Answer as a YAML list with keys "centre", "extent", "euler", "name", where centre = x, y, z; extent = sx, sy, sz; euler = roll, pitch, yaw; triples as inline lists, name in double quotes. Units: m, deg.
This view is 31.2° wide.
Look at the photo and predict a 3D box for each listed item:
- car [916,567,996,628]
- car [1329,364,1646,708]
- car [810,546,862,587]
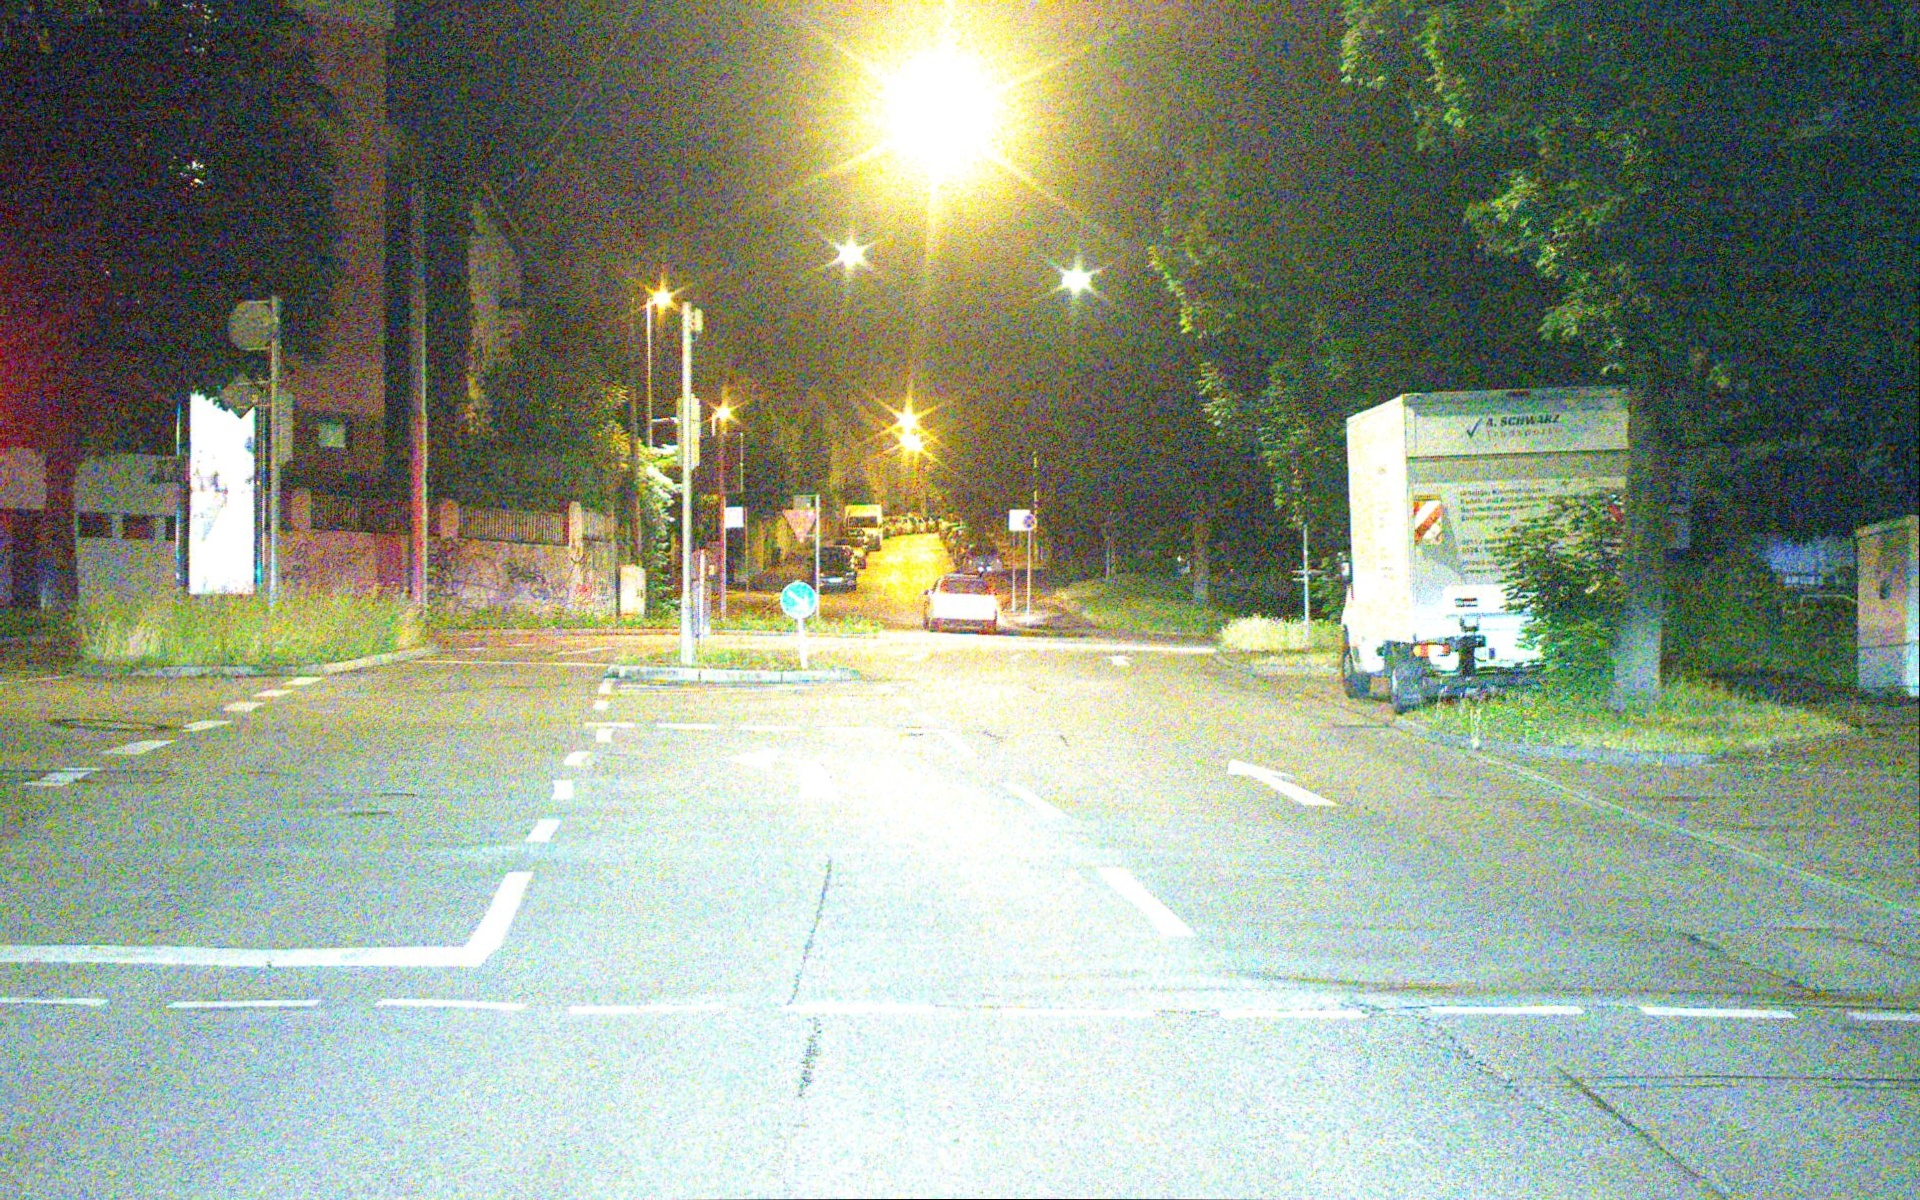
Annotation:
- centre: [-0.120, -0.085, 88.124]
  extent: [1.775, 1.481, 4.001]
  euler: [1, 1, -4]
  name: "car"
- centre: [5.117, -0.616, 34.226]
  extent: [2.297, 3.082, 5.840]
  euler: [-1, 1, 1]
  name: "car"
- centre: [-4.845, -1.293, 134.376]
  extent: [1.908, 1.552, 3.904]
  euler: [1, 1, -1]
  name: "car"
